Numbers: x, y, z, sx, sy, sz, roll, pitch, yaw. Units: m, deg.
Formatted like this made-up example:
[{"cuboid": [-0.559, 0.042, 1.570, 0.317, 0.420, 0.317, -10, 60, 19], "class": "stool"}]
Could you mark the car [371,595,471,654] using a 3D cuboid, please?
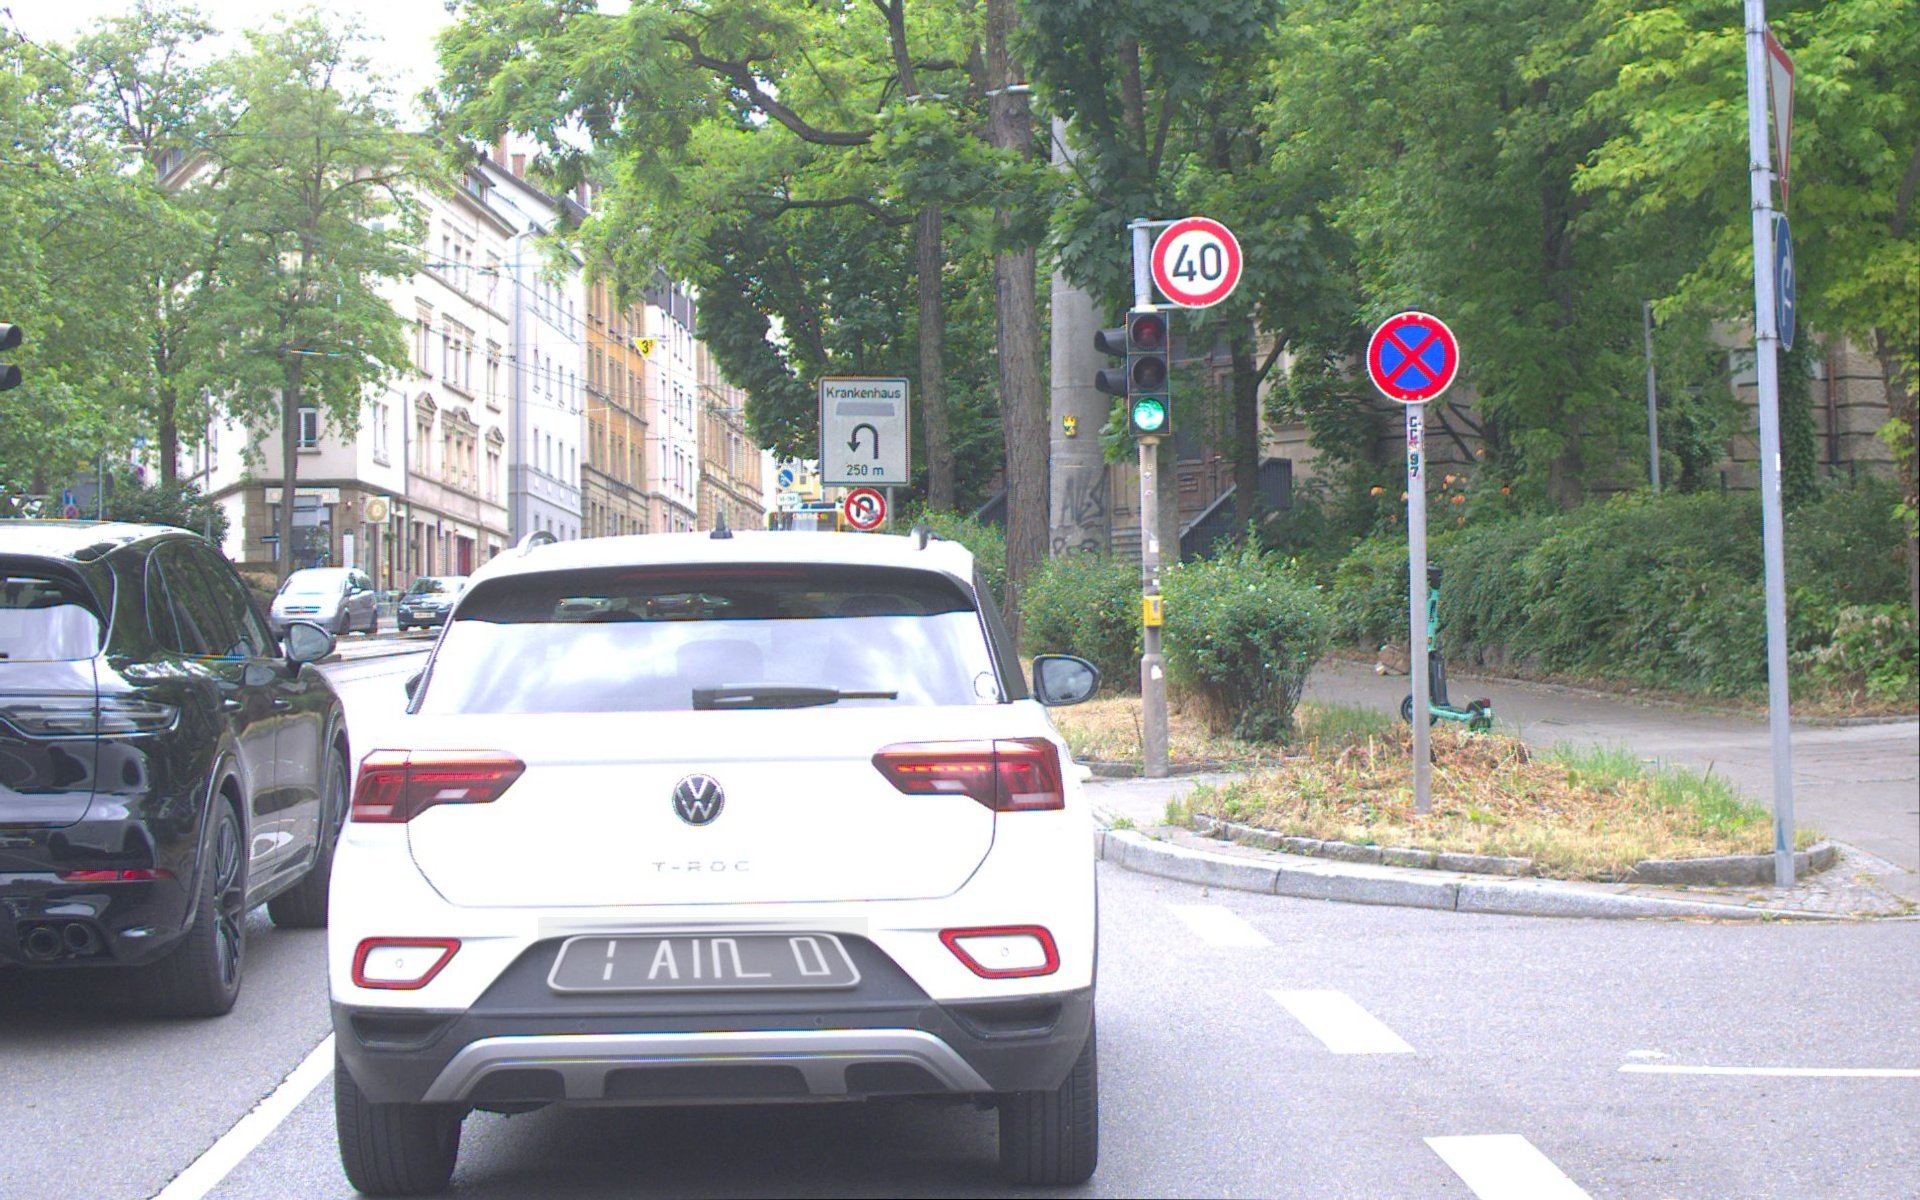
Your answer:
[{"cuboid": [-13.791, 0.607, 88.116, 1.766, 1.403, 4.082, -1, 1, 2], "class": "car"}]

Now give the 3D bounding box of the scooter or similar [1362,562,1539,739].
[{"cuboid": [3.478, 0.343, 24.490, 0.630, 1.206, 1.558, -1, 0, -16], "class": "scooter or similar"}]

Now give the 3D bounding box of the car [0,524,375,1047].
[{"cuboid": [-3.400, 0.548, 12.488, 2.037, 1.566, 4.359, -1, 1, -3], "class": "car"}]

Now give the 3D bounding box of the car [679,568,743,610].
[{"cuboid": [-9.658, -0.446, 133.385, 1.994, 1.547, 4.000, -1, 1, 3], "class": "car"}]

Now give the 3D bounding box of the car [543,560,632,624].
[{"cuboid": [-11.842, -0.275, 109.562, 1.947, 1.939, 5.002, -1, 1, 4], "class": "car"}]

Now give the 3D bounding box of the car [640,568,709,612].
[{"cuboid": [-10.363, -0.372, 125.096, 1.994, 1.547, 4.000, -1, 1, 3], "class": "car"}]

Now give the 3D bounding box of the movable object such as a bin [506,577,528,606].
[{"cuboid": [-16.344, -0.310, 126.781, 0.687, 1.070, 0.676, -1, 0, 5], "class": "movable object such as a bin"}]

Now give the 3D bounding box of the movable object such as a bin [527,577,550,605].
[{"cuboid": [-16.049, -0.347, 131.011, 0.728, 1.070, 0.671, -1, 0, 5], "class": "movable object such as a bin"}]

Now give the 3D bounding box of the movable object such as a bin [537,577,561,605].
[{"cuboid": [-15.893, -0.363, 132.970, 0.825, 1.070, 0.676, -1, 0, 5], "class": "movable object such as a bin"}]

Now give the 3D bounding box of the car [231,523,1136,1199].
[{"cuboid": [-0.617, 0.606, 9.215, 1.879, 1.549, 4.000, -1, 1, -1], "class": "car"}]

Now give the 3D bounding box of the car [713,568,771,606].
[{"cuboid": [-9.131, -0.548, 144.290, 1.994, 1.547, 4.000, -1, 1, 3], "class": "car"}]

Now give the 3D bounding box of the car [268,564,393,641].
[{"cuboid": [-13.899, 0.040, 76.143, 1.993, 1.612, 4.000, -1, 1, 0], "class": "car"}]

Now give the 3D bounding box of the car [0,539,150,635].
[{"cuboid": [-15.824, -0.242, 59.936, 1.994, 1.599, 4.609, -1, 1, 4], "class": "car"}]
